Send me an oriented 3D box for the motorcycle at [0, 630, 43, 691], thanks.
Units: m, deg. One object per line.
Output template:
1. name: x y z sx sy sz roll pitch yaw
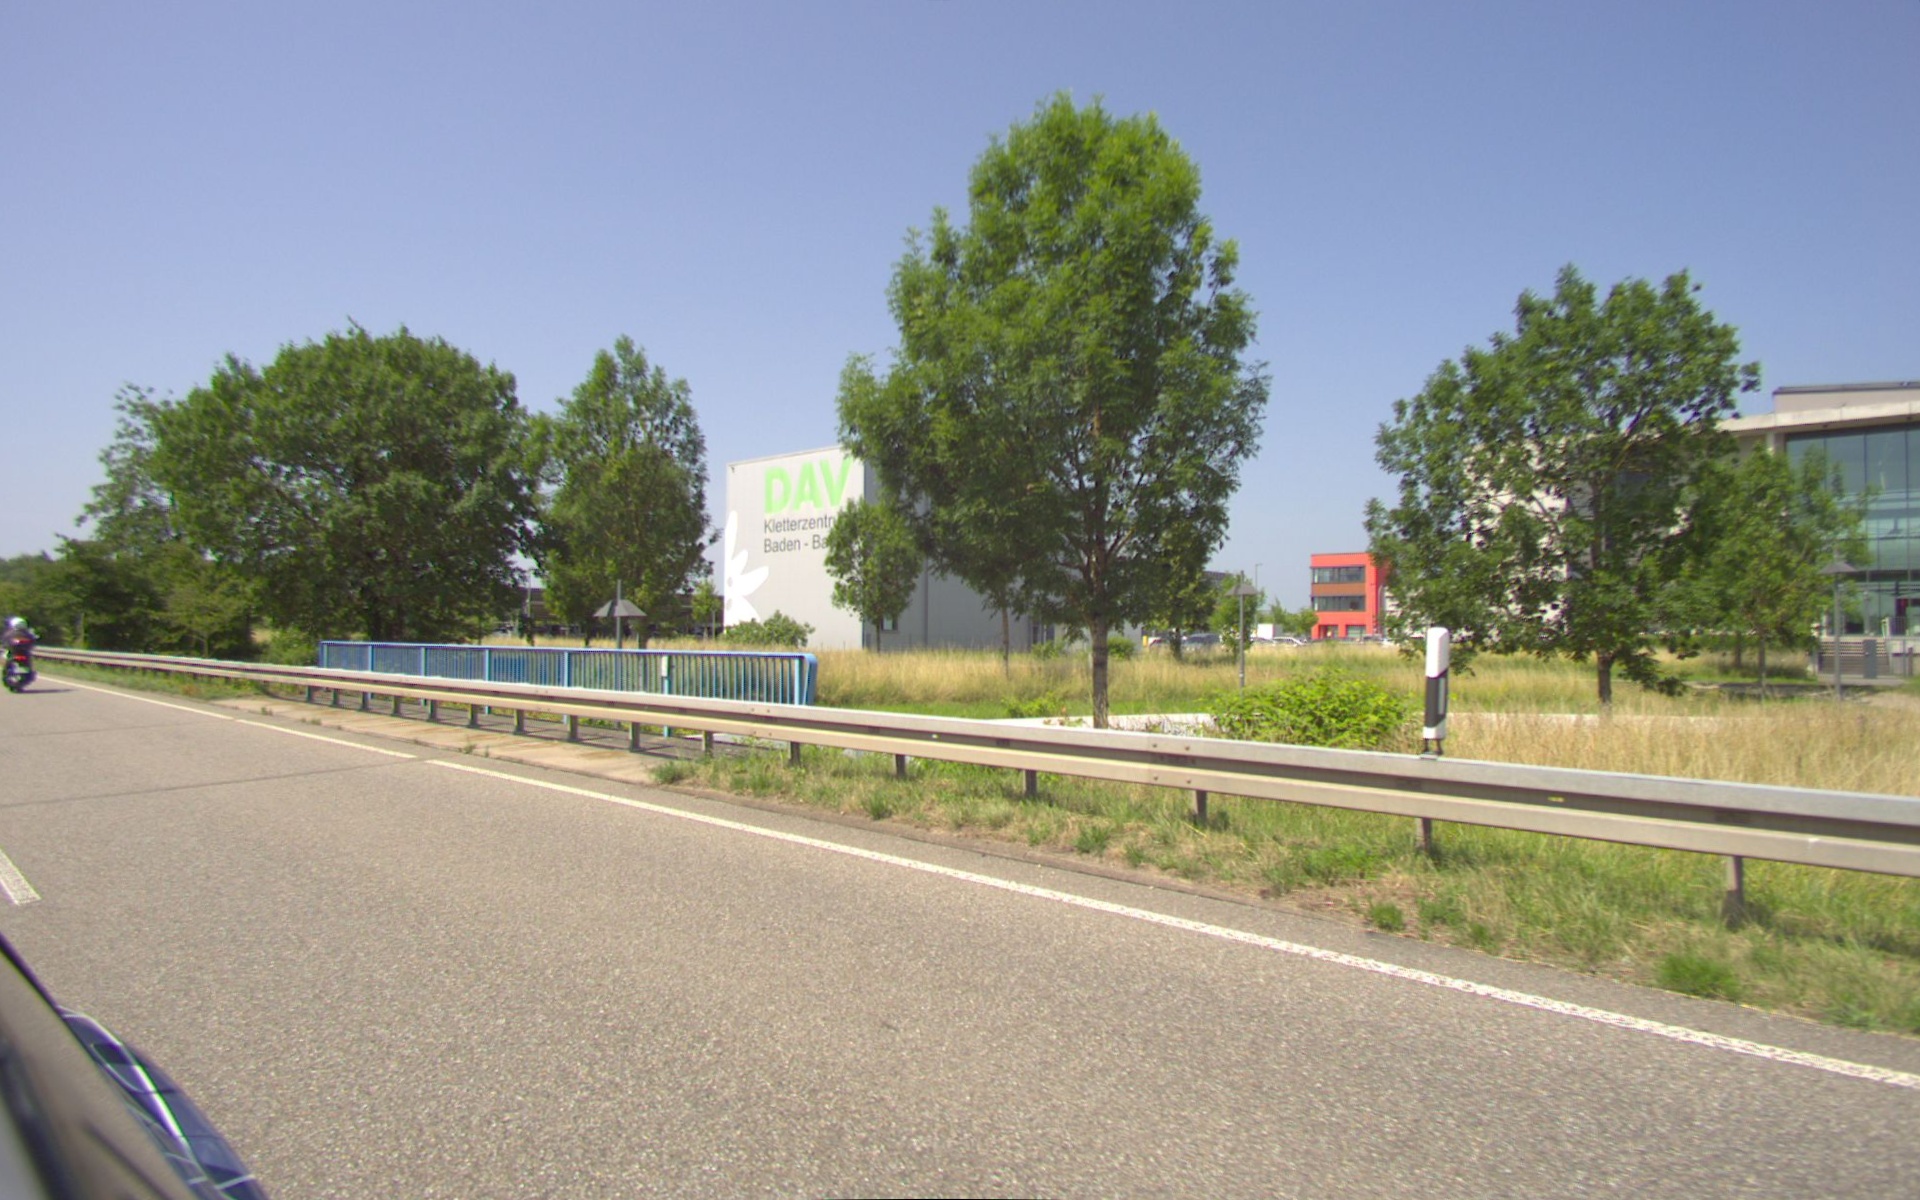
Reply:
1. motorcycle: -20.752 1.306 22.279 2.370 1.244 0.681 -2 -1 44

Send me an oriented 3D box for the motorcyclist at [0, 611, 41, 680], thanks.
1. motorcyclist: -20.828 0.997 22.349 0.987 1.476 0.718 -2 -2 44
